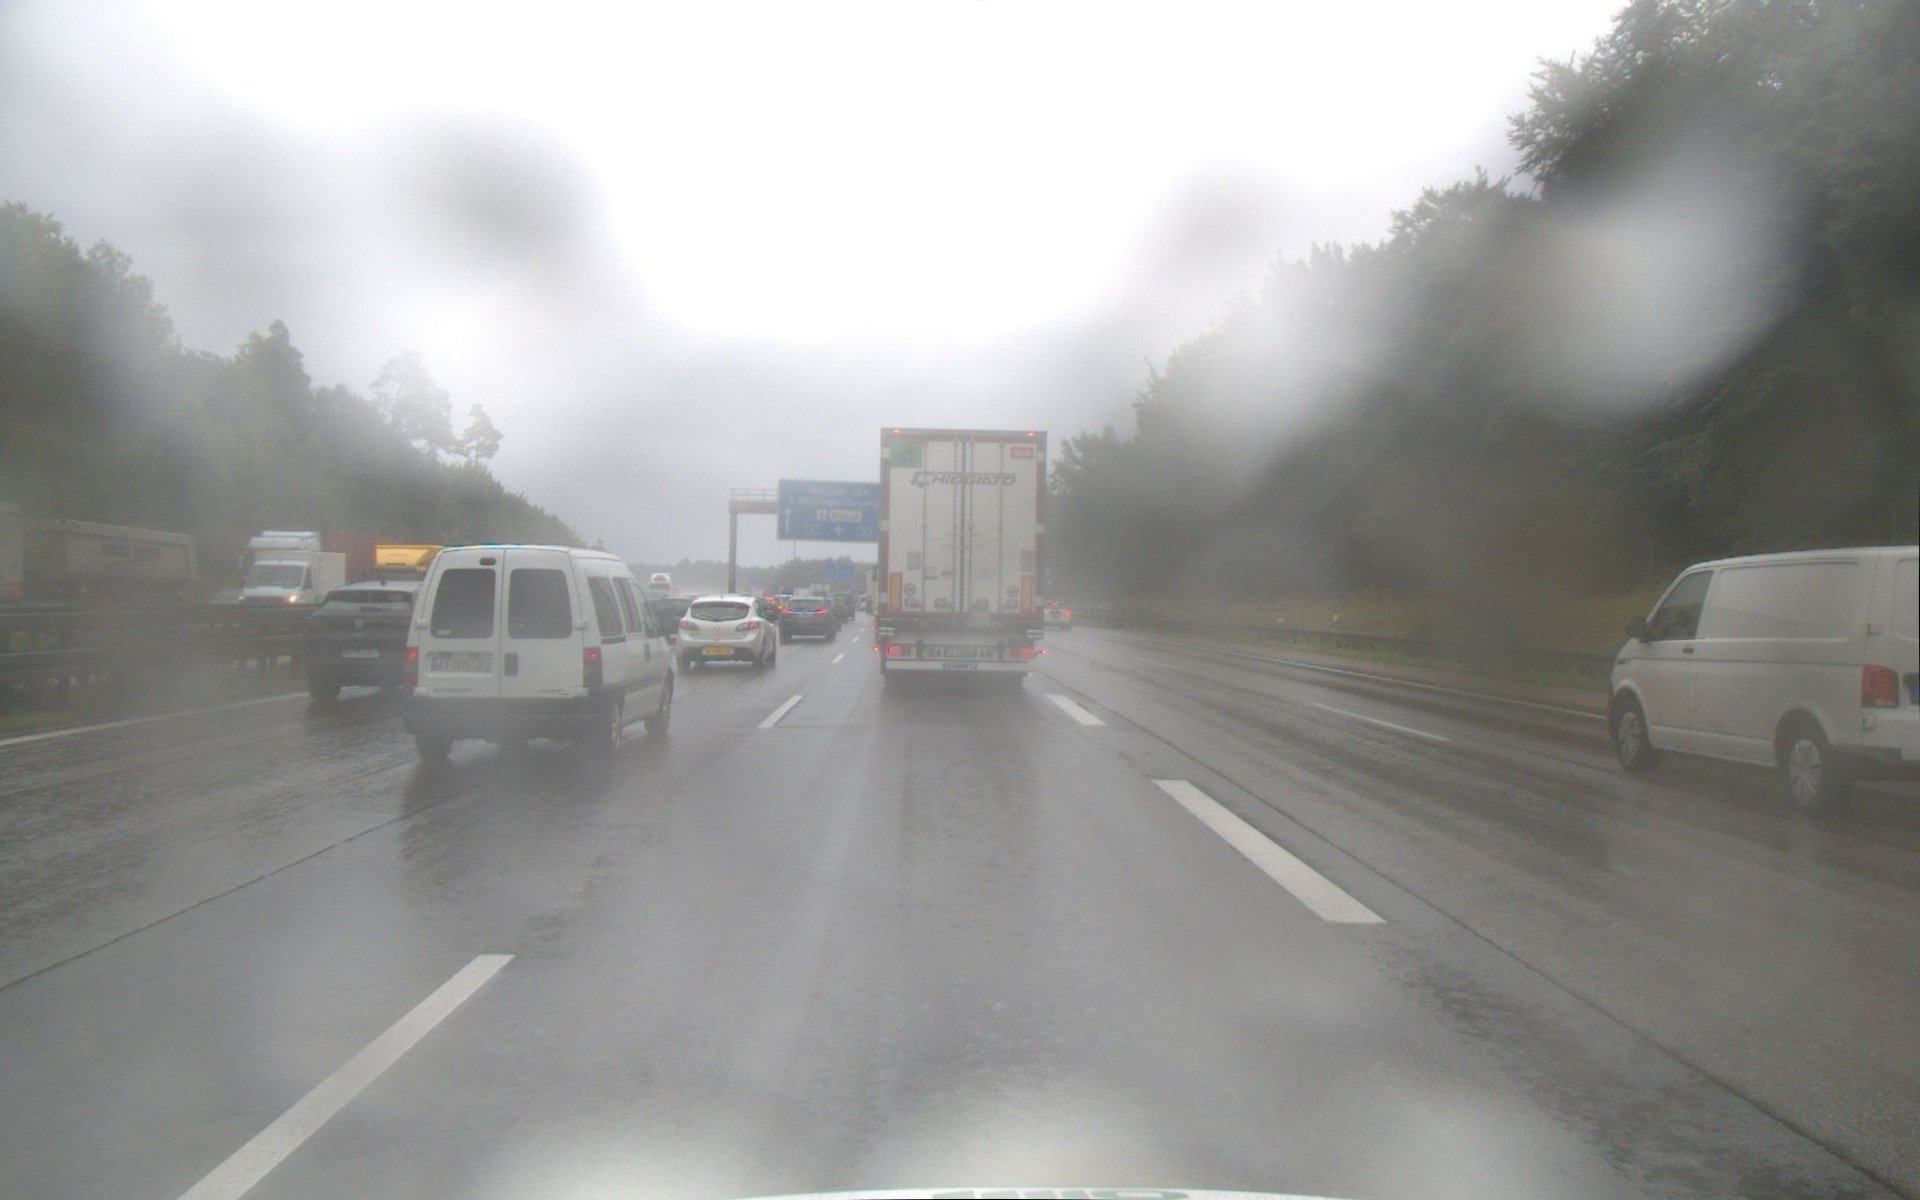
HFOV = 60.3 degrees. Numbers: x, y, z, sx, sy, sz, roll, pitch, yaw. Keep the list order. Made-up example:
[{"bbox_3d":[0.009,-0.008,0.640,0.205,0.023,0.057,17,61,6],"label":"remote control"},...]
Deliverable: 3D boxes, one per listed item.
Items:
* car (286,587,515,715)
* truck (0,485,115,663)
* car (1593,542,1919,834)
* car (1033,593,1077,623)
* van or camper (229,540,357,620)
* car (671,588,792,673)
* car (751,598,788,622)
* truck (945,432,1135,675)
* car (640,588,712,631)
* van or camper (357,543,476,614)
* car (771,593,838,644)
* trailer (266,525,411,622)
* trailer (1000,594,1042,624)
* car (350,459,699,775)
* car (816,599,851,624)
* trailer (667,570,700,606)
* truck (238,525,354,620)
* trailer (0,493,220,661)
[{"bbox_3d":[-7.852,0.647,23.682,1.808,1.619,4.466,1,0,-1],"label":"car"},{"bbox_3d":[-22.961,-0.607,39.493,2.329,4.023,6.535,0,1,-2],"label":"truck"},{"bbox_3d":[7.154,0.578,13.502,1.950,1.954,4.765,1,0,-3],"label":"car"},{"bbox_3d":[4.841,0.388,84.653,1.755,1.431,4.225,1,0,-4],"label":"car"},{"bbox_3d":[-22.749,-0.674,56.705,2.154,2.592,6.116,0,1,-3],"label":"van or camper"},{"bbox_3d":[-4.657,0.586,34.252,1.807,1.619,4.073,1,0,1],"label":"car"},{"bbox_3d":[-11.209,0.568,97.418,1.808,1.354,4.465,1,0,-2],"label":"car"},{"bbox_3d":[1.268,-0.688,30.678,2.813,3.624,11.302,1,0,1],"label":"truck"},{"bbox_3d":[-9.545,0.286,55.853,1.808,1.354,4.465,1,0,-2],"label":"car"},{"bbox_3d":[-24.814,-0.958,76.027,2.785,3.030,8.783,1,0,-2],"label":"van or camper"},{"bbox_3d":[-5.261,0.602,56.432,1.808,1.619,4.467,1,0,0],"label":"car"},{"bbox_3d":[-28.722,-1.145,77.157,2.566,4.096,12.367,1,0,-2],"label":"trailer"},{"bbox_3d":[3.863,0.553,105.005,2.198,1.744,5.079,1,0,-3],"label":"trailer"},{"bbox_3d":[-4.040,0.123,16.361,2.168,2.618,5.015,1,0,-1],"label":"car"},{"bbox_3d":[-7.235,0.663,95.092,1.808,1.354,4.465,1,0,-2],"label":"car"},{"bbox_3d":[-33.135,-1.372,198.540,2.490,4.096,13.840,1,0,-4],"label":"trailer"},{"bbox_3d":[-28.443,-1.132,71.147,2.650,3.884,6.261,1,0,-2],"label":"truck"},{"bbox_3d":[-23.078,-0.550,44.412,2.329,4.023,9.420,0,0,-1],"label":"trailer"}]
